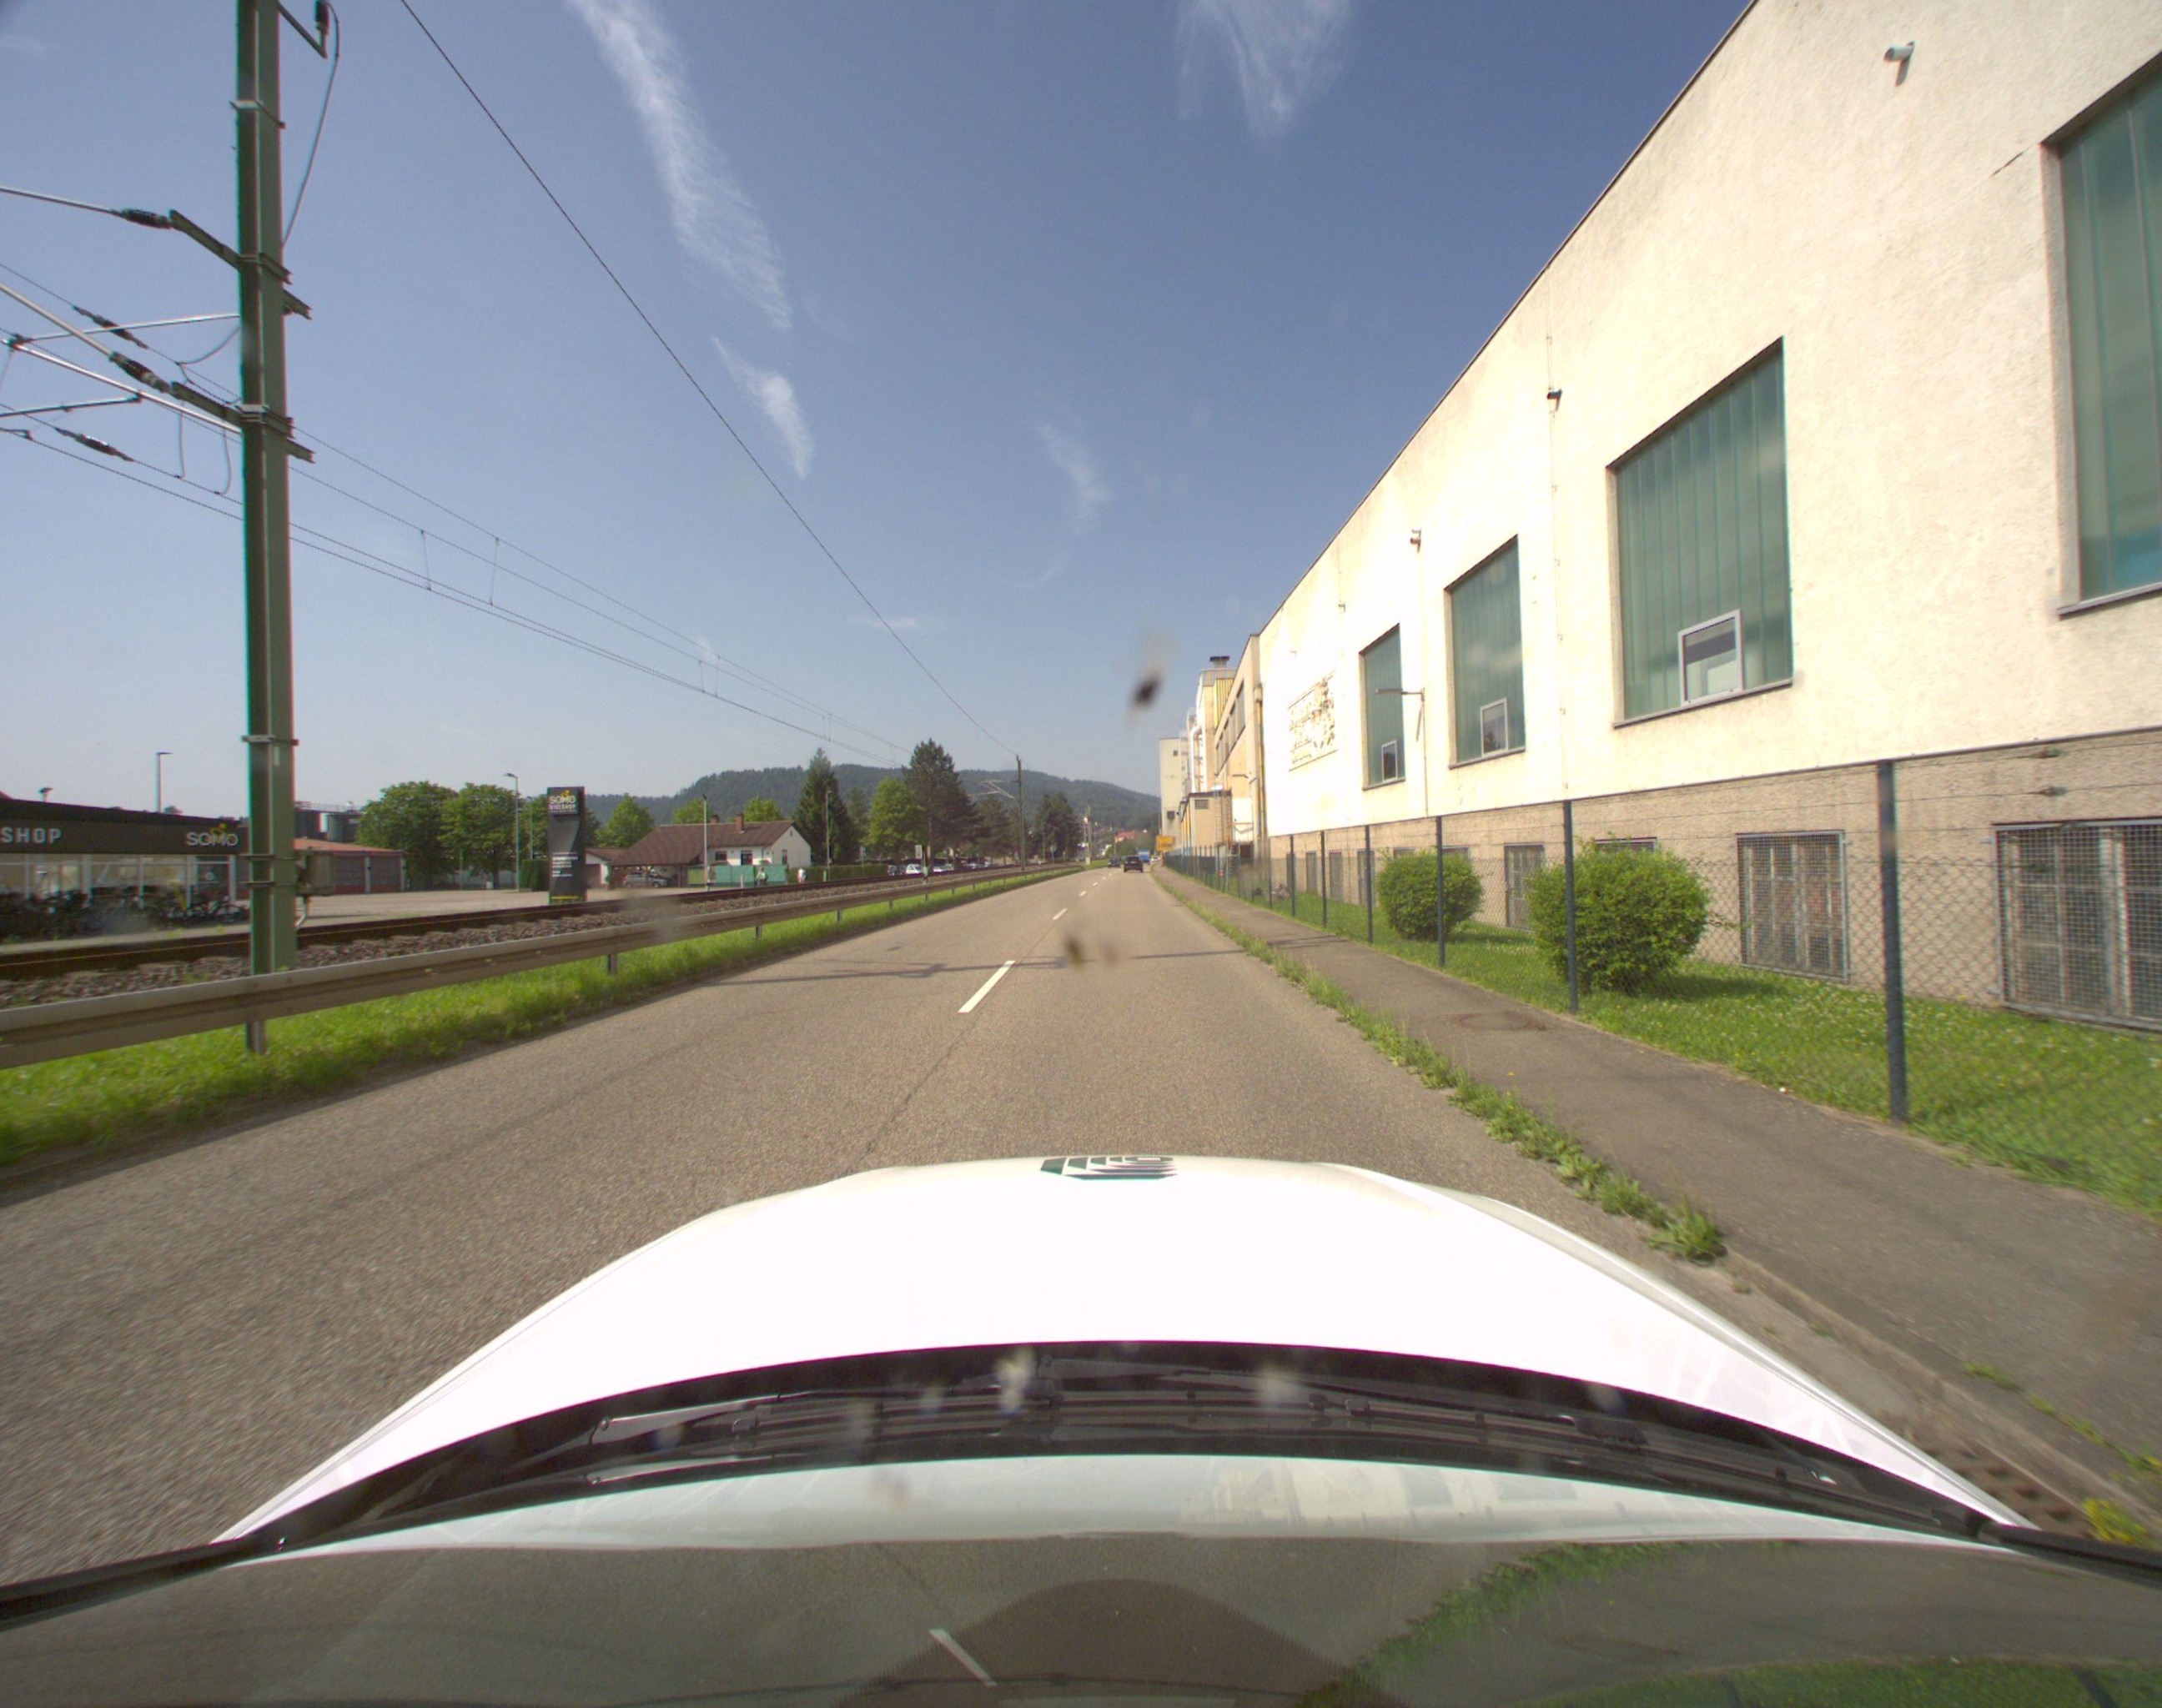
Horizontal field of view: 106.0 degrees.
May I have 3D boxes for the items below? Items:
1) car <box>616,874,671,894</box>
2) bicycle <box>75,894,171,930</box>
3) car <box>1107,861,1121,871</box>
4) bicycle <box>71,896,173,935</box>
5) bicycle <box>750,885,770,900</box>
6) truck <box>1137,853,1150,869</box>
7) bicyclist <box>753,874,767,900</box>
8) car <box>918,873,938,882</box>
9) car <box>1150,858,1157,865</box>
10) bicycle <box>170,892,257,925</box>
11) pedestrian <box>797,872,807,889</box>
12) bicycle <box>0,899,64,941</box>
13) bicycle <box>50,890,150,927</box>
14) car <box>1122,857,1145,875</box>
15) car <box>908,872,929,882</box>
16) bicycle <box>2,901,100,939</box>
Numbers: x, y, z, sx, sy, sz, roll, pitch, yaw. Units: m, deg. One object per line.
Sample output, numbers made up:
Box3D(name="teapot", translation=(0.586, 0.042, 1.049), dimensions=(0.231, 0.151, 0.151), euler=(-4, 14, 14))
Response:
Box3D(name="car", translation=(-37.750, 2.585, 70.291), dimensions=(3.819, 1.651, 1.714), euler=(-2, -1, 4))
Box3D(name="bicycle", translation=(-32.762, 1.961, 27.886), dimensions=(2.166, 1.130, 0.728), euler=(-1, -1, -9))
Box3D(name="car", translation=(4.850, 1.788, 118.799), dimensions=(1.754, 1.403, 4.127), euler=(-1, -1, 7))
Box3D(name="bicycle", translation=(-31.027, 1.958, 26.400), dimensions=(0.725, 1.130, 2.174), euler=(-1, -1, 0))
Box3D(name="bicycle", translation=(-20.757, 2.474, 52.667), dimensions=(0.543, 0.923, 1.710), euler=(-2, -1, 0))
Box3D(name="truck", translation=(11.983, 1.266, 156.378), dimensions=(2.302, 2.970, 5.971), euler=(-1, -1, 4))
Box3D(name="bicyclist", translation=(-20.770, 2.115, 52.741), dimensions=(0.531, 1.647, 0.832), euler=(-2, -1, 0))
Box3D(name="car", translation=(-26.118, 4.009, 138.910), dimensions=(1.696, 1.507, 3.808), euler=(-1, -1, -38))
Box3D(name="car", translation=(19.819, 2.027, 223.307), dimensions=(1.658, 1.823, 3.758), euler=(-1, -1, 7))
Box3D(name="bicycle", translation=(-31.578, 1.977, 29.665), dimensions=(2.166, 1.130, 0.728), euler=(-1, -1, -9))
Box3D(name="pedestrian", translation=(-21.545, 2.040, 62.892), dimensions=(0.572, 1.332, 0.673), euler=(-1, -1, -4))
Box3D(name="bicycle", translation=(-31.169, 1.923, 23.430), dimensions=(0.721, 1.130, 2.337), euler=(-2, -2, 35))
Box3D(name="bicycle", translation=(-32.642, 1.793, 27.135), dimensions=(2.166, 1.130, 0.728), euler=(-1, -1, -9))
Box3D(name="car", translation=(5.194, 1.150, 79.655), dimensions=(1.909, 1.640, 4.009), euler=(-1, -1, 8))
Box3D(name="car", translation=(-25.446, 3.585, 127.258), dimensions=(1.696, 1.444, 3.808), euler=(-1, -1, -38))
Box3D(name="bicycle", translation=(-32.589, 2.081, 25.786), dimensions=(2.160, 1.130, 0.730), euler=(-1, -1, 0))
